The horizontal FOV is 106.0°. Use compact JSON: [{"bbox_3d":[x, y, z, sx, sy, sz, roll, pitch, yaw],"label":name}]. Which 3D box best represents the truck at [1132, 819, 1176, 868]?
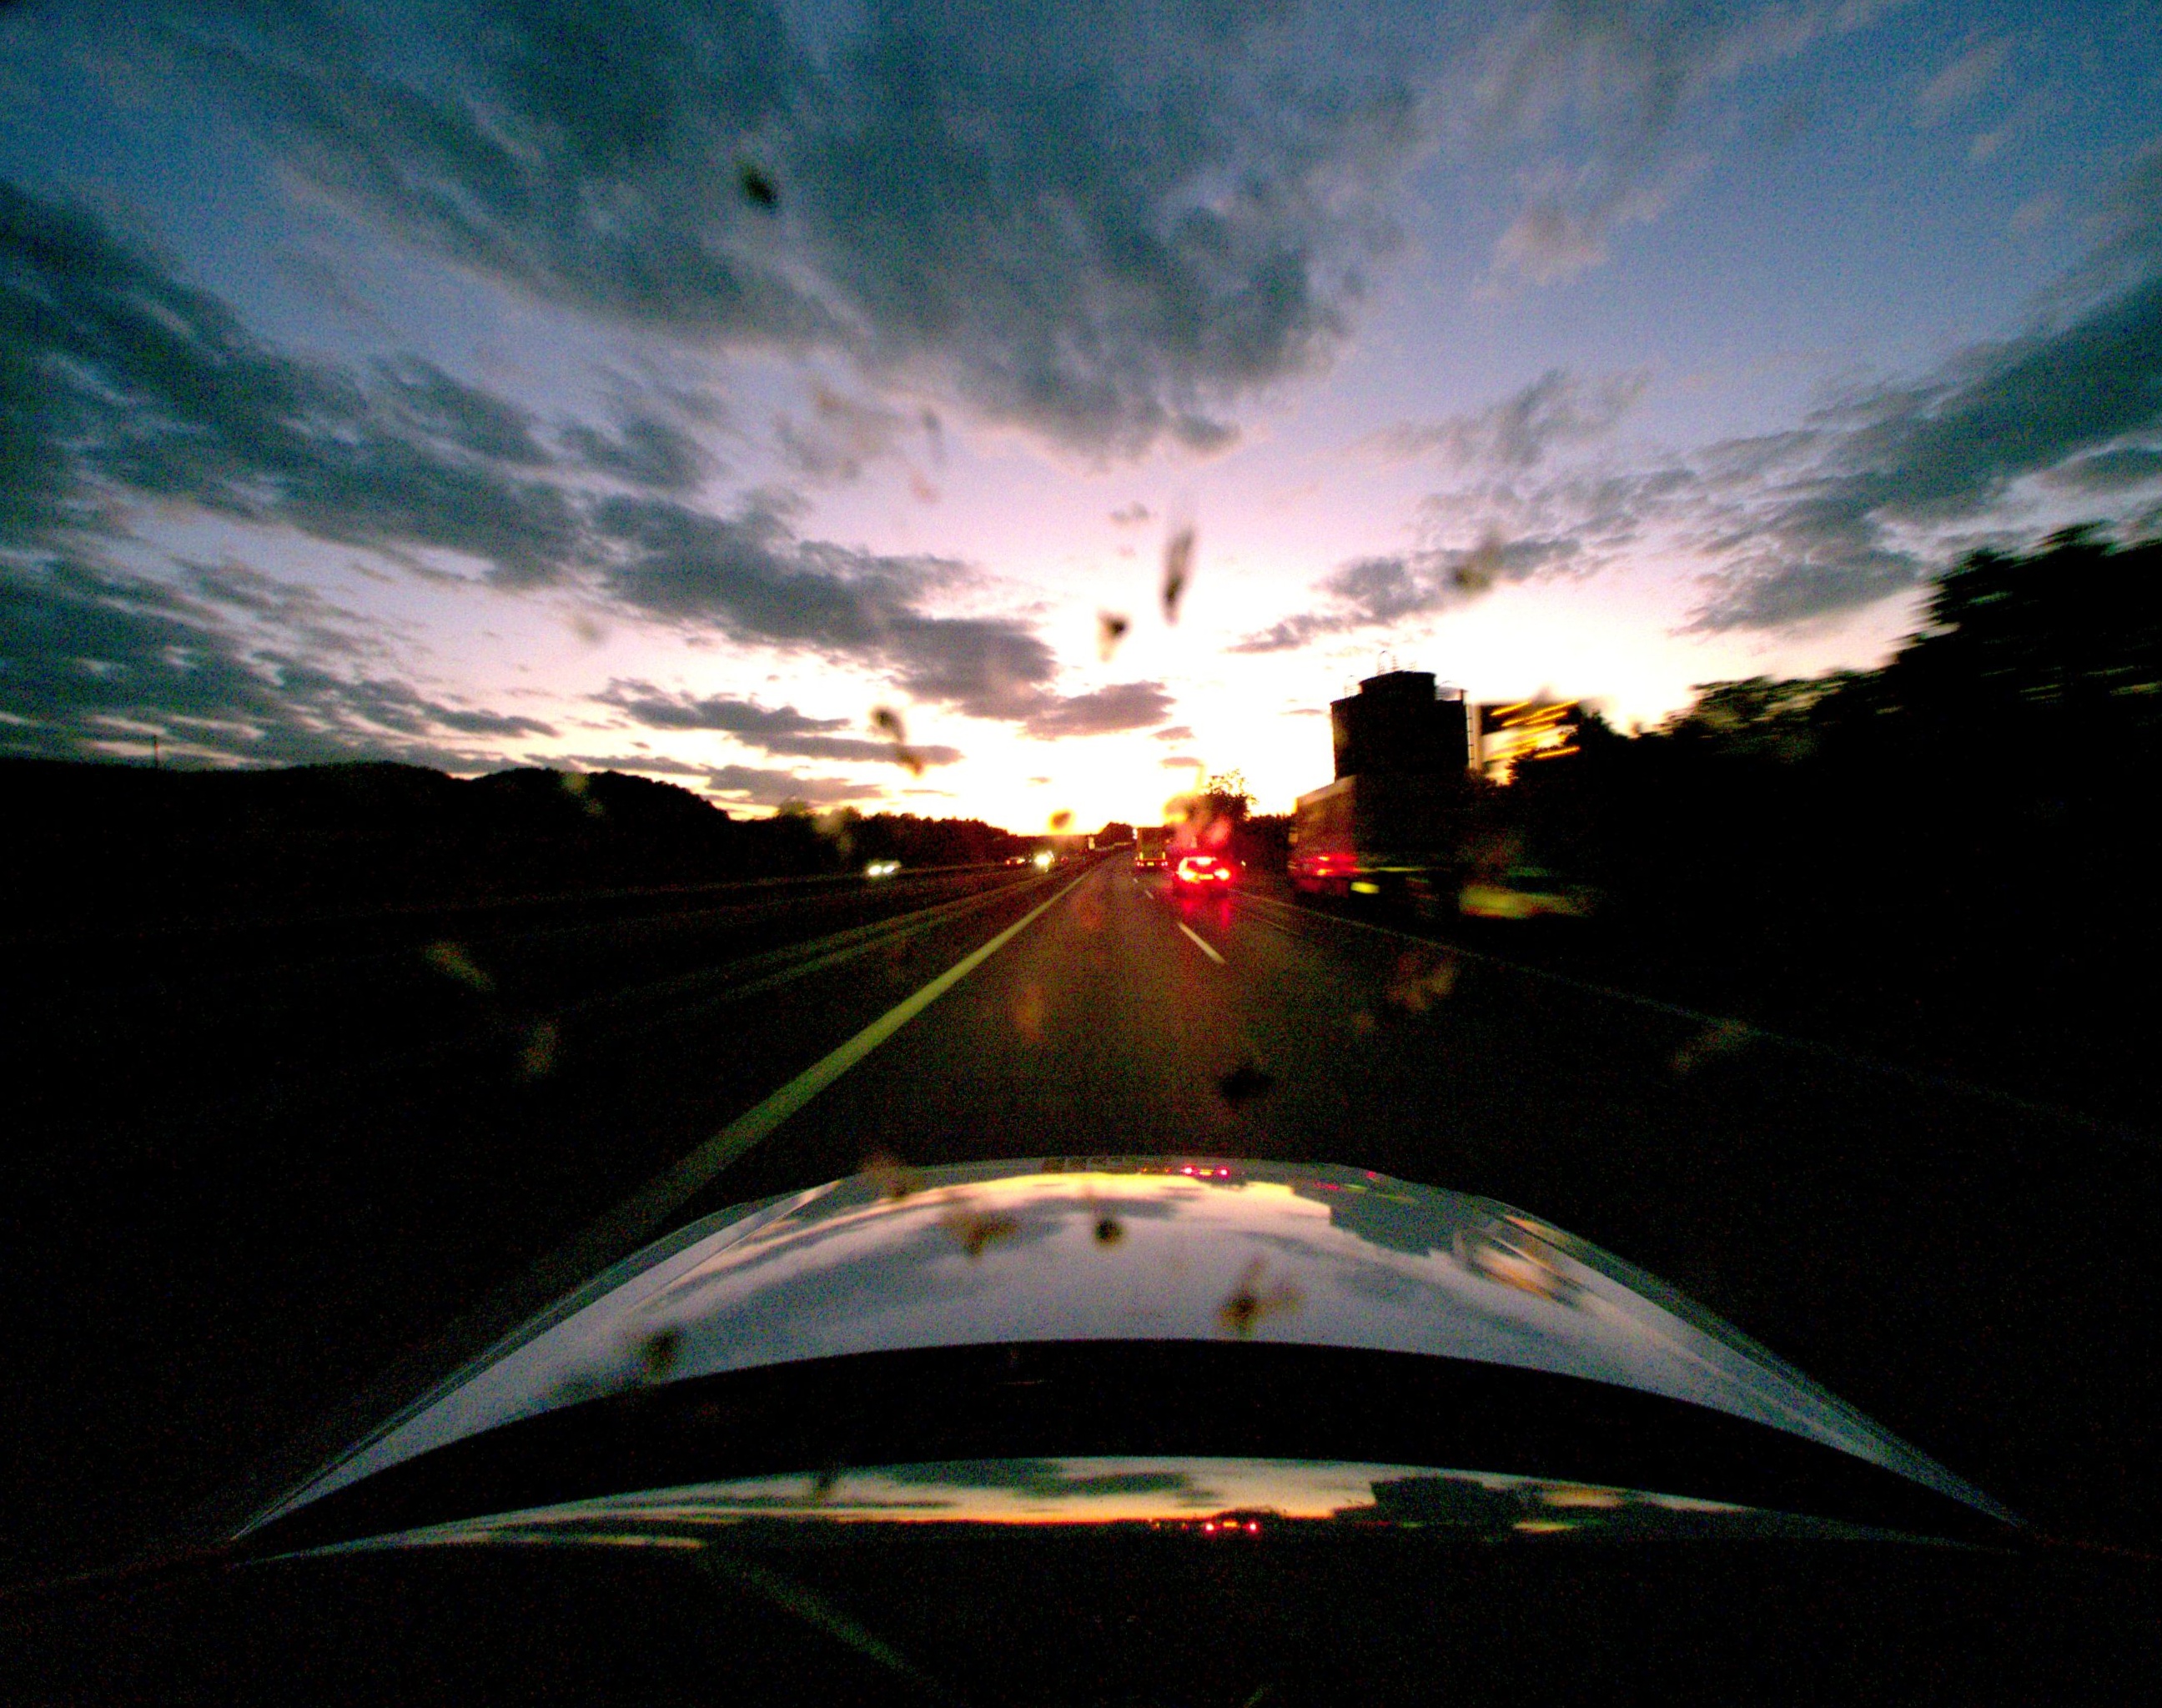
[{"bbox_3d":[6.953,-0.966,79.334,3.497,4.301,9.895,-3,0,2],"label":"truck"}]

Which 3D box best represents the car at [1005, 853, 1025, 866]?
[{"bbox_3d":[-8.292,0.675,102.241,1.865,1.561,4.522,-3,0,2],"label":"car"}]

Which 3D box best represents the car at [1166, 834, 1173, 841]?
[{"bbox_3d":[26.502,-4.987,244.425,1.893,2.013,3.862,-2,0,2],"label":"car"}]

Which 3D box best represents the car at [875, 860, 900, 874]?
[{"bbox_3d":[-21.141,1.421,89.091,1.662,1.494,3.675,-2,0,2],"label":"car"}]

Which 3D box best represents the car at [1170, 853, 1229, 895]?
[{"bbox_3d":[4.472,0.720,31.239,1.907,1.442,4.003,-1,0,3],"label":"car"}]

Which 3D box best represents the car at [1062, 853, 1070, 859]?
[{"bbox_3d":[-3.927,0.562,210.789,1.631,1.546,3.397,-3,0,2],"label":"car"}]

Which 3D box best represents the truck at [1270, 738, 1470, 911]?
[{"bbox_3d":[8.077,-0.713,24.348,2.902,4.111,9.154,-2,0,2],"label":"truck"}]

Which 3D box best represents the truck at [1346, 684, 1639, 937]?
[{"bbox_3d":[7.781,-0.714,16.554,2.777,4.058,6.414,-2,0,2],"label":"truck"}]

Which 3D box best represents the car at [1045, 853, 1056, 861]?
[{"bbox_3d":[-6.205,0.657,166.423,1.706,1.605,3.724,-3,0,2],"label":"car"}]
